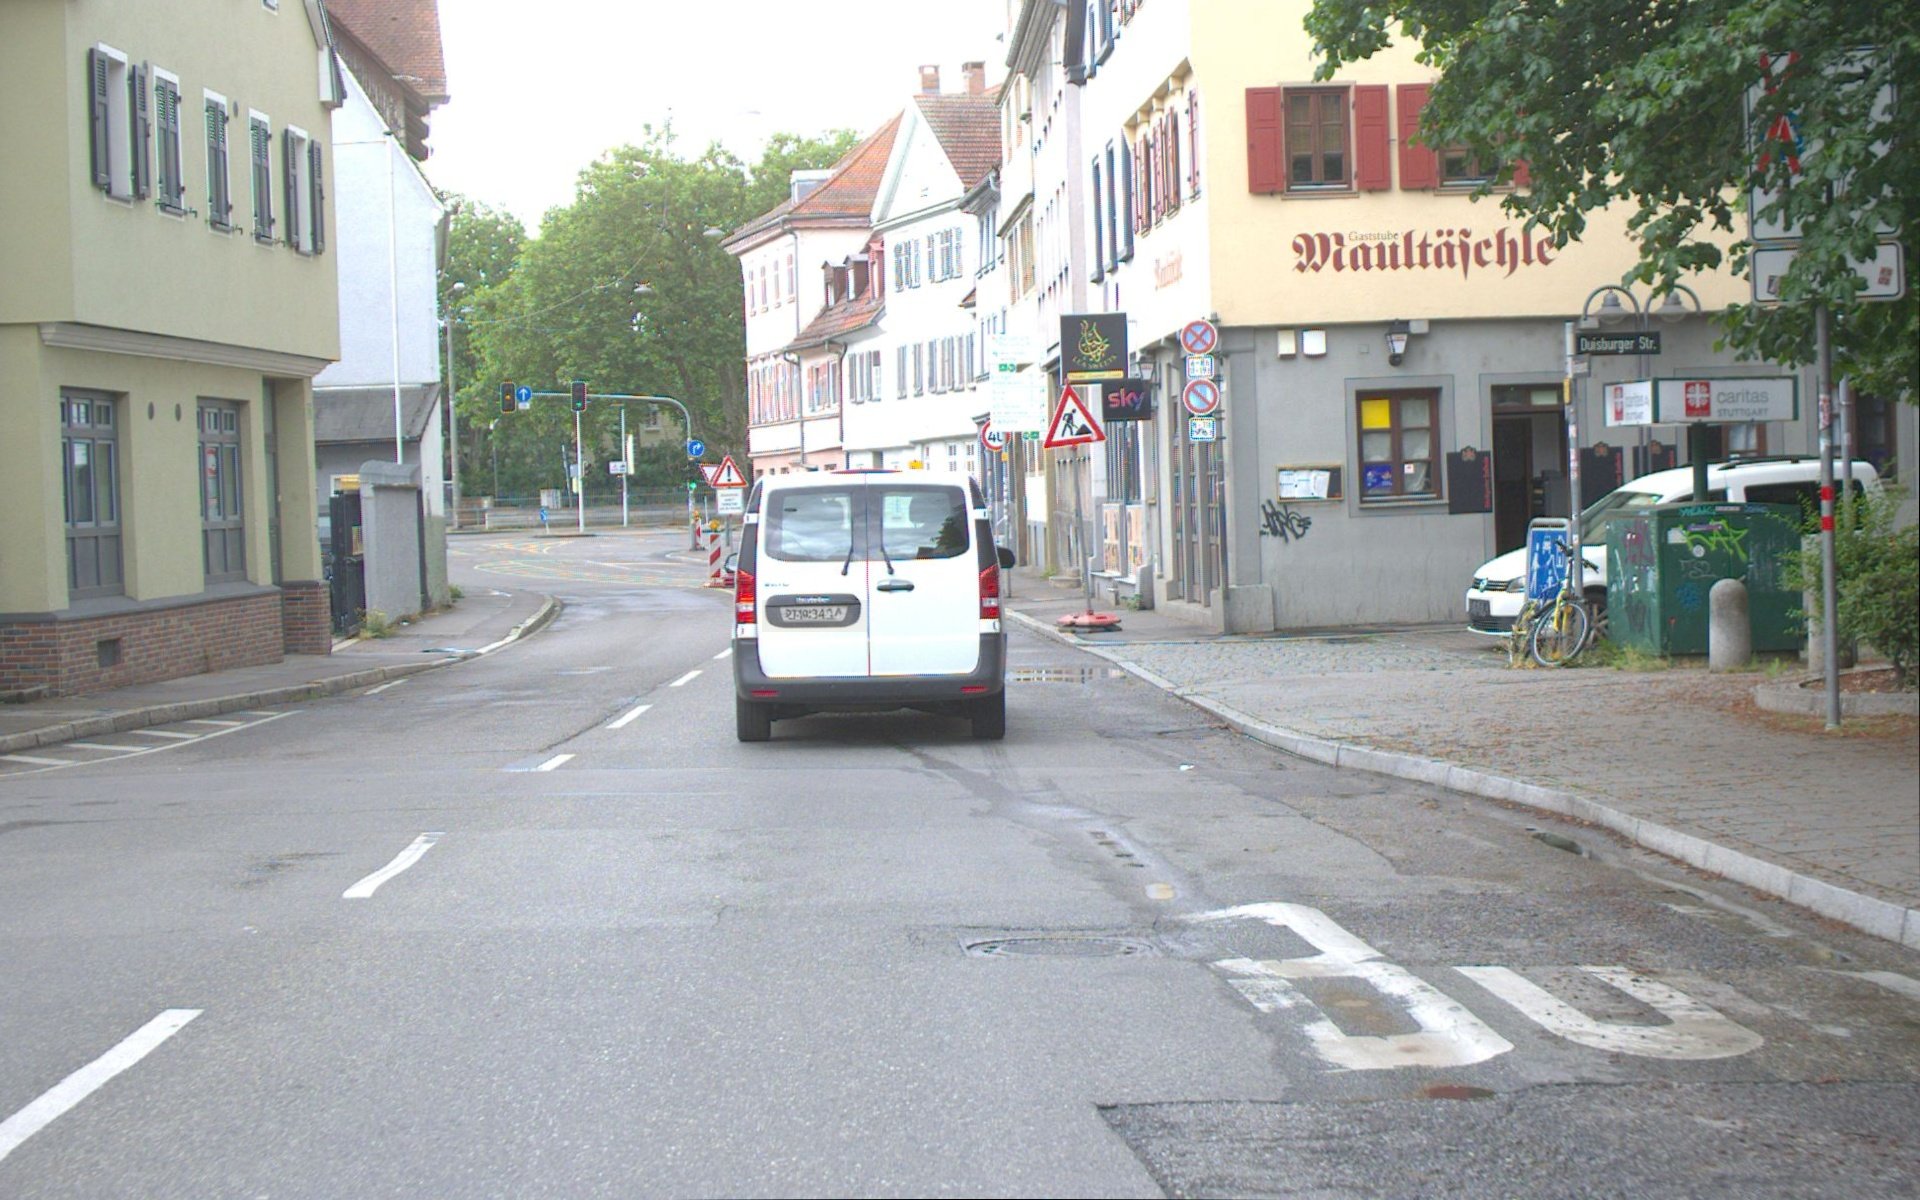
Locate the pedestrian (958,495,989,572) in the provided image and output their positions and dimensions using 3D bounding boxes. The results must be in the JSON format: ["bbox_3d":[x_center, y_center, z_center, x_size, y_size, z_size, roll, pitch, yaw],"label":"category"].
[{"bbox_3d":[0.306,-1.531,78.959,0.643,1.741,0.562,-1,1,-5],"label":"pedestrian"}]

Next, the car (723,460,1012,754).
[{"bbox_3d":[-0.622,-0.011,24.905,1.872,1.905,4.000,-2,2,0],"label":"car"}]

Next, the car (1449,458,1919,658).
[{"bbox_3d":[7.278,-0.462,34.718,4.241,1.791,1.849,-2,3,-9],"label":"car"}]

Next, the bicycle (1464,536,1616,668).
[{"bbox_3d":[5.071,0.010,30.150,0.499,1.102,1.638,-3,1,-21],"label":"bicycle"}]
